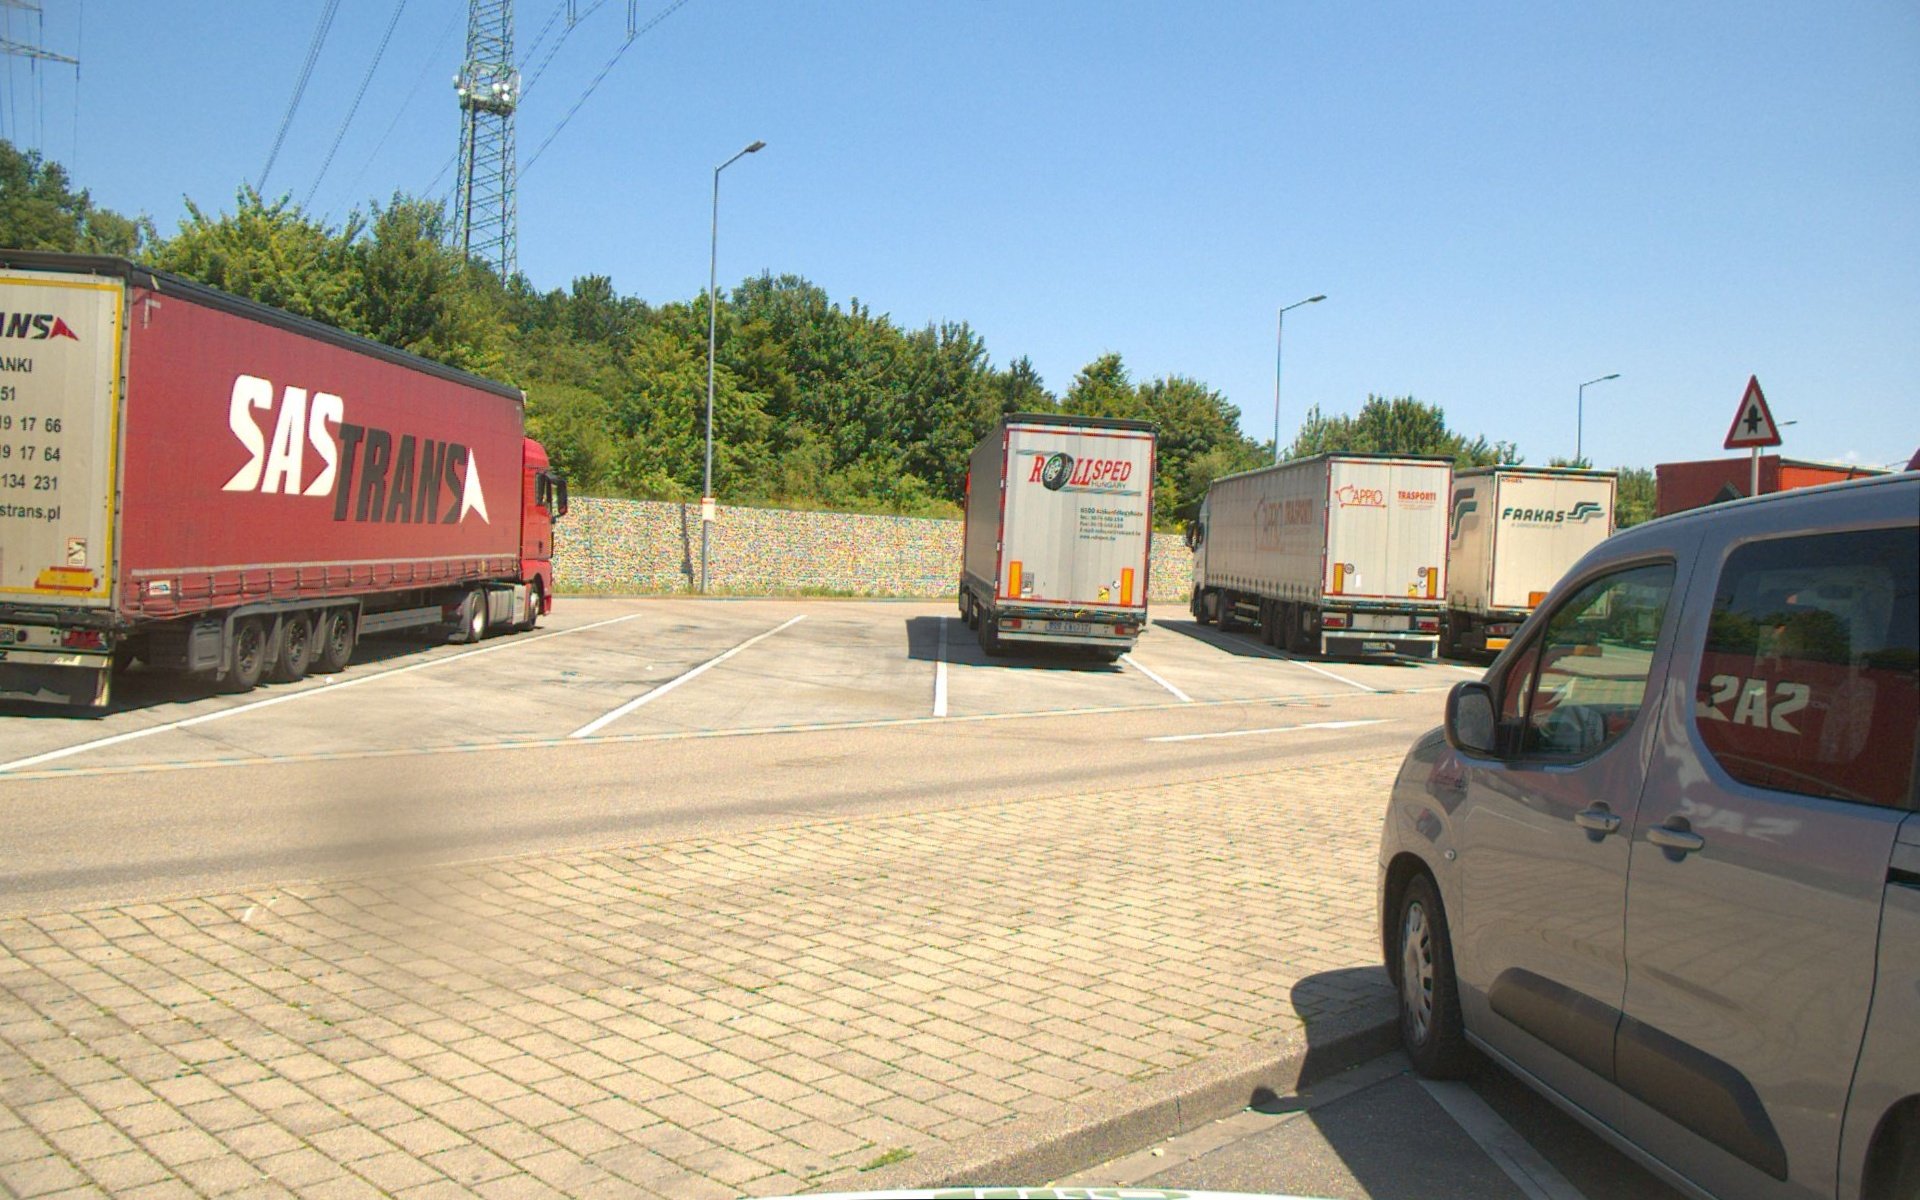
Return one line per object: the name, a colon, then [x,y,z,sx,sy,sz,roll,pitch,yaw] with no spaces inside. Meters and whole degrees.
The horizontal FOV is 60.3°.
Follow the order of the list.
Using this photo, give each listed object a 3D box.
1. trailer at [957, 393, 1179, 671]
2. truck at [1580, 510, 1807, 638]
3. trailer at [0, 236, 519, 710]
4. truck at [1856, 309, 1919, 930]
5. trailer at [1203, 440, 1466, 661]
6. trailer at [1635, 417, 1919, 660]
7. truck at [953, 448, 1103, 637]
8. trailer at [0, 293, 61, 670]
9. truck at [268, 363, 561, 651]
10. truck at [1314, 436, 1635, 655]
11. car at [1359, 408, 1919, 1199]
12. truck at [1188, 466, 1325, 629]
trailer: [1.697,-1.312,32.665,3.008,4.301,12.805,2,2,-2]
truck: [21.956,-0.807,50.172,2.963,3.497,8.529,1,1,-1]
trailer: [-8.683,-1.257,21.126,2.694,4.128,13.285,1,1,-1]
truck: [4.978,0.132,4.924,1.952,2.669,5.305,1,1,3]
trailer: [8.204,-1.084,38.597,2.818,4.196,13.569,1,1,-1]
trailer: [17.367,-1.105,32.927,8.573,4.332,2.812,0,1,-32]
truck: [1.465,-1.377,39.431,2.965,3.997,6.845,2,2,-2]
trailer: [-12.411,-1.306,15.435,2.689,4.337,9.733,1,1,0]
truck: [-8.776,-1.417,27.526,2.687,4.152,6.828,1,1,-1]
truck: [11.728,-1.226,39.977,2.846,4.195,14.525,3,1,-1]
car: [2.431,0.560,3.803,1.790,1.784,3.997,1,1,-4]
truck: [8.070,-1.409,45.596,2.701,4.196,5.283,1,1,-1]
